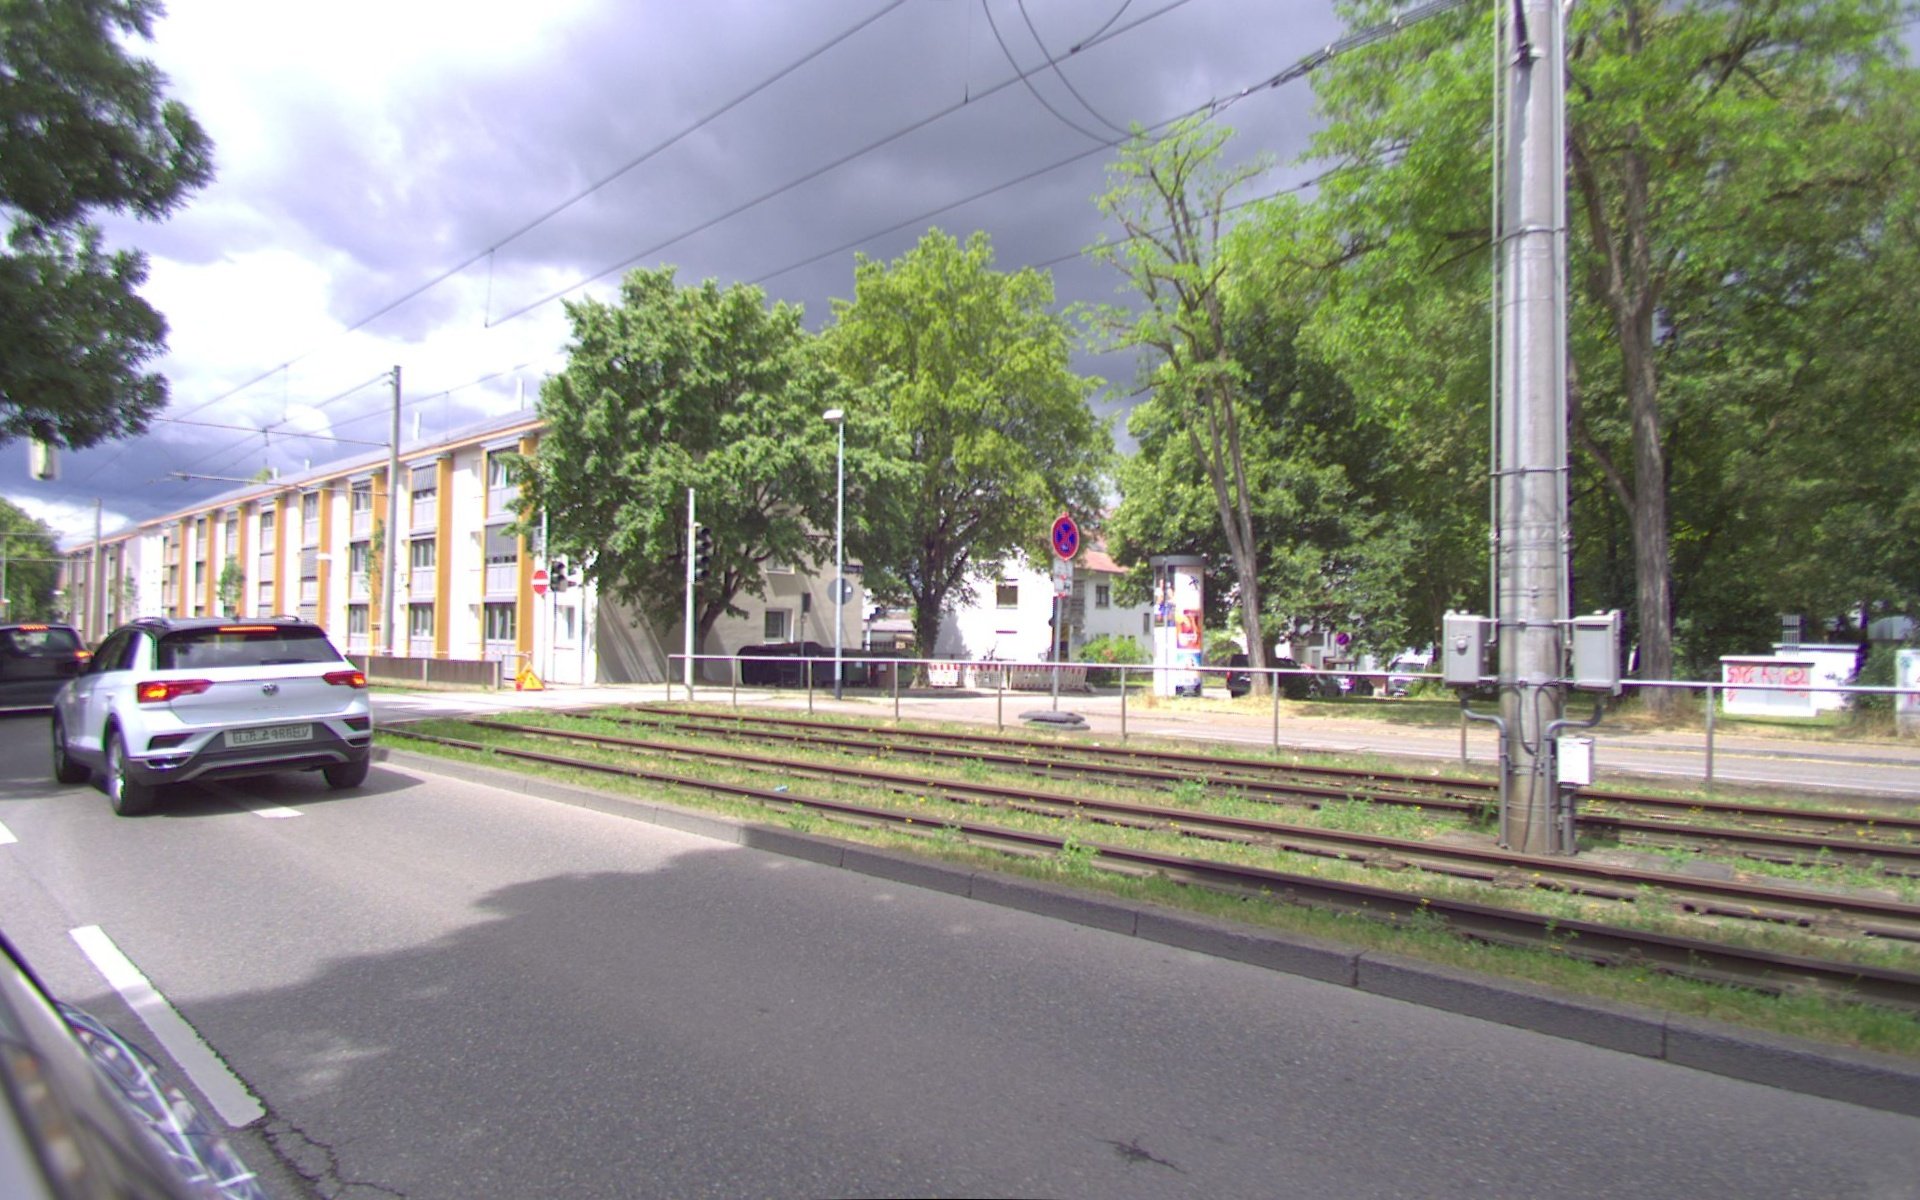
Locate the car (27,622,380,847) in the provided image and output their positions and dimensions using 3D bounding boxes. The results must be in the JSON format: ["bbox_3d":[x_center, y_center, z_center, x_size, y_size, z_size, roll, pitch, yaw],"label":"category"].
[{"bbox_3d":[-6.956,1.044,9.152,3.997,1.556,1.699,-3,-1,40],"label":"car"}]

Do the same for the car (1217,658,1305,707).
[{"bbox_3d":[12.561,3.401,42.092,2.000,1.873,3.944,-1,-4,42],"label":"car"}]

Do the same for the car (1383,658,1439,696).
[{"bbox_3d":[27.179,4.625,60.919,2.000,2.118,3.944,-1,-4,42],"label":"car"}]

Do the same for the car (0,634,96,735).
[{"bbox_3d":[-16.057,1.386,17.154,3.272,1.545,1.620,-2,-1,40],"label":"car"}]
